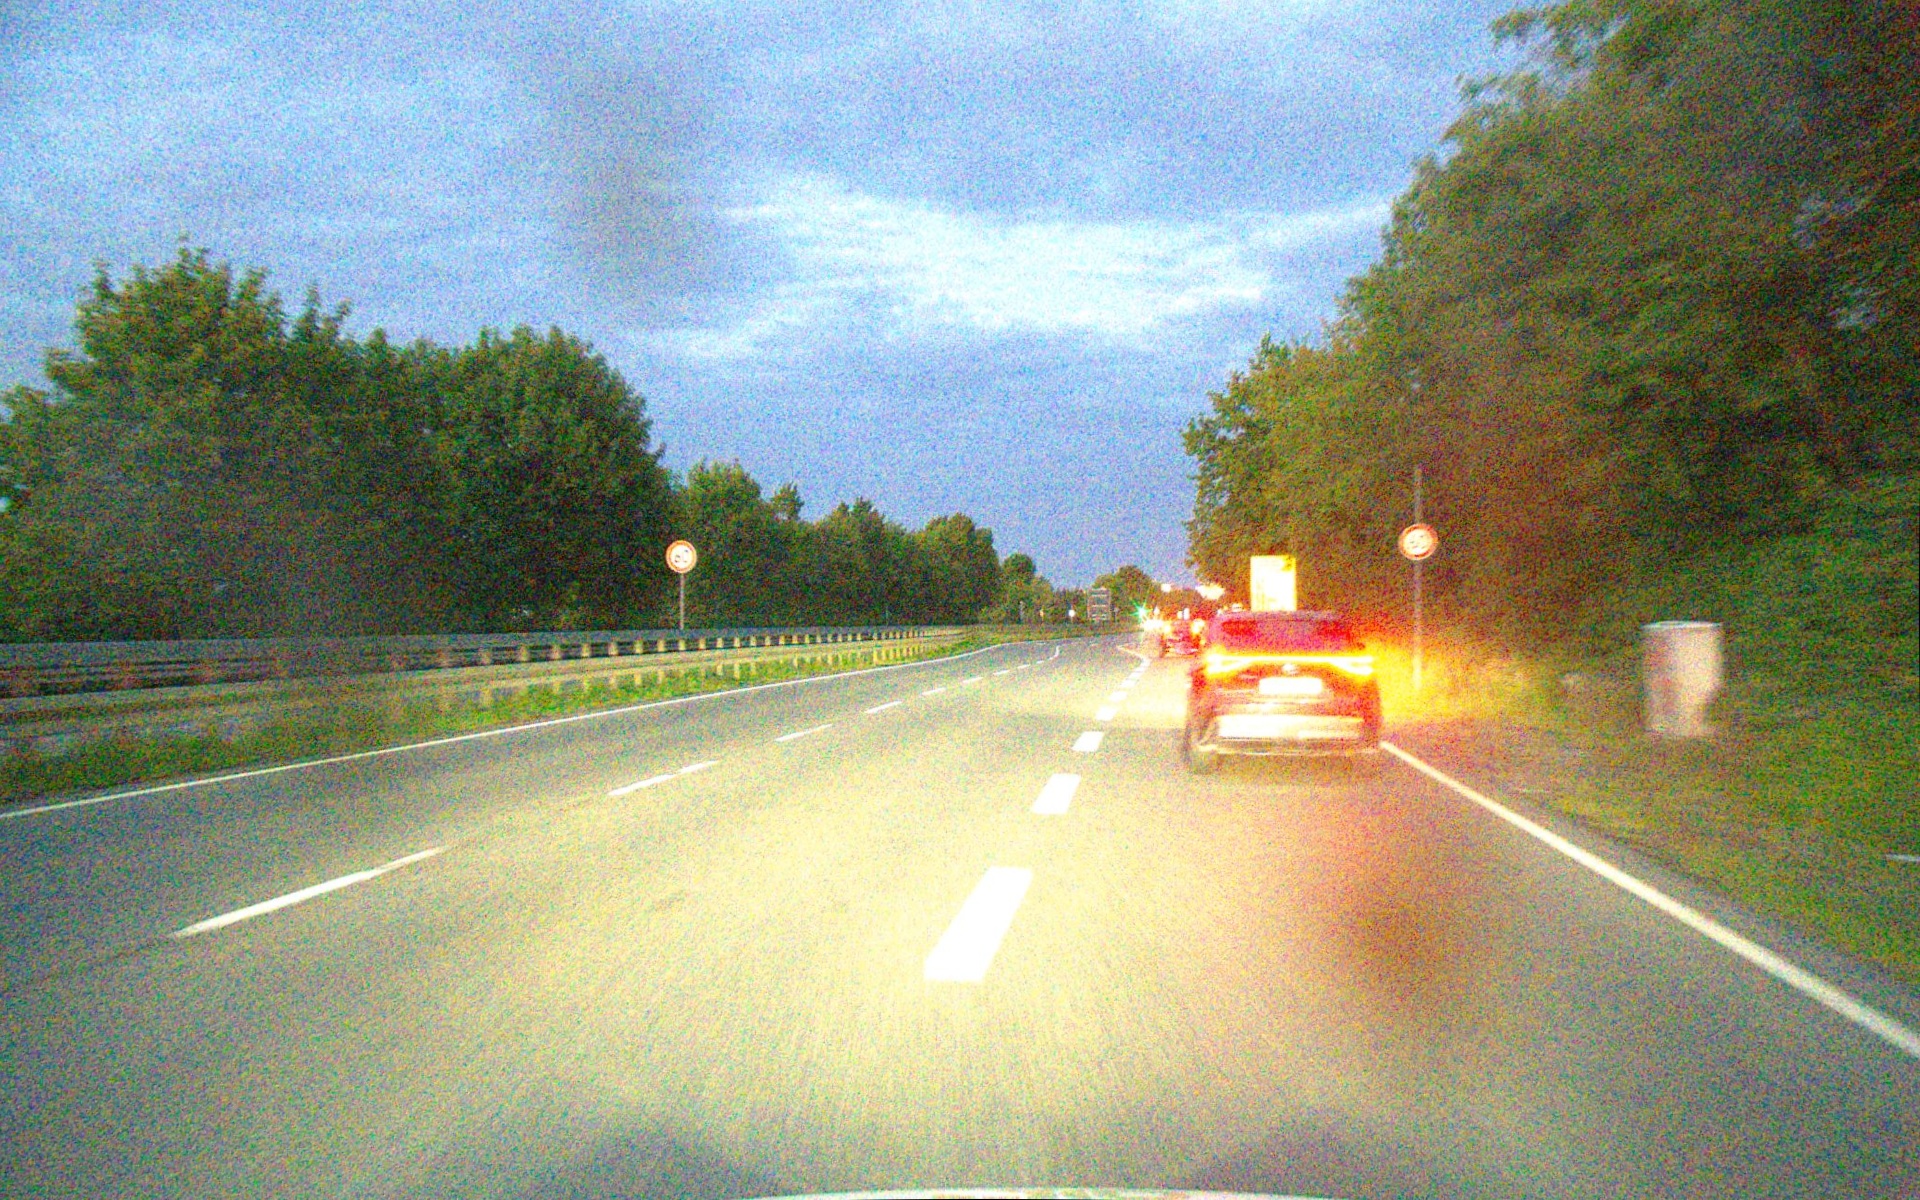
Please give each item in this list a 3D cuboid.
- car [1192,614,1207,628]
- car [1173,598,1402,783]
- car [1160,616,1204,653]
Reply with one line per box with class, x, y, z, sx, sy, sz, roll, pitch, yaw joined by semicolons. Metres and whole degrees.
car;35.989;3.175;248.678;1.951;1.780;4.003;-4;-2;9
car;3.262;0.841;17.278;1.861;1.648;4.559;1;-1;5
car;9.122;1.403;67.962;1.715;1.478;4.436;-1;-1;8
